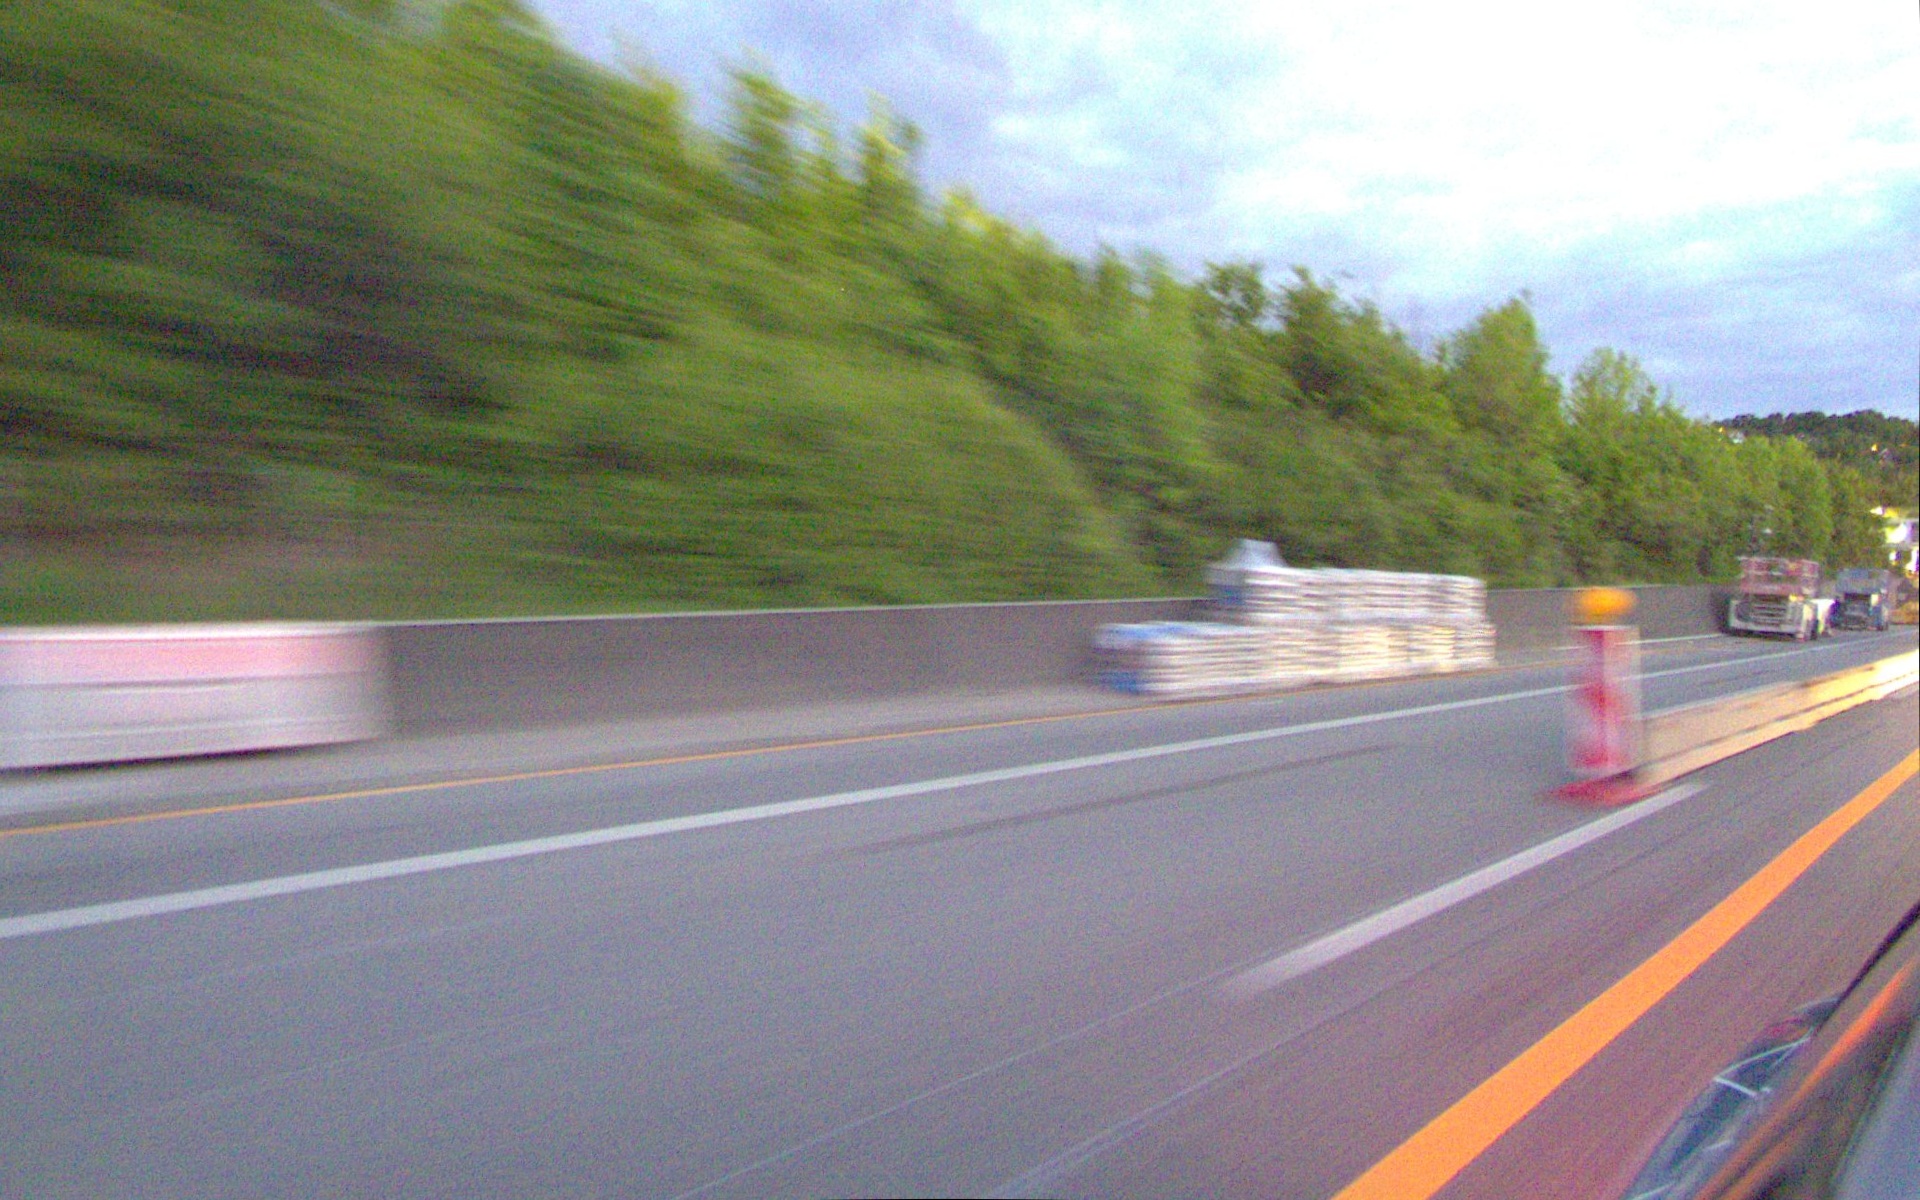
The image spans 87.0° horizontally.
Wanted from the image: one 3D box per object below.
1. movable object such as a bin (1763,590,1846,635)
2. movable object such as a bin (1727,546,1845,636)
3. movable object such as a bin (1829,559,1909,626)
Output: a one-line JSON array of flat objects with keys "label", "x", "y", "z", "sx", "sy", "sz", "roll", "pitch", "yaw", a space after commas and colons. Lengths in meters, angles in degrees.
[{"label": "movable object such as a bin", "x": 34.879, "y": 0.472, "z": 41.759, "sx": 4.014, "sy": 1.621, "sz": 1.997, "roll": -1, "pitch": 3, "yaw": -41}, {"label": "movable object such as a bin", "x": 31.371, "y": -0.368, "z": 38.371, "sx": 5.707, "sy": 3.146, "sz": 2.624, "roll": 0, "pitch": 2, "yaw": -42}, {"label": "movable object such as a bin", "x": 48.295, "y": -0.436, "z": 53.728, "sx": 5.484, "sy": 3.359, "sz": 2.568, "roll": 0, "pitch": 2, "yaw": -42}]
